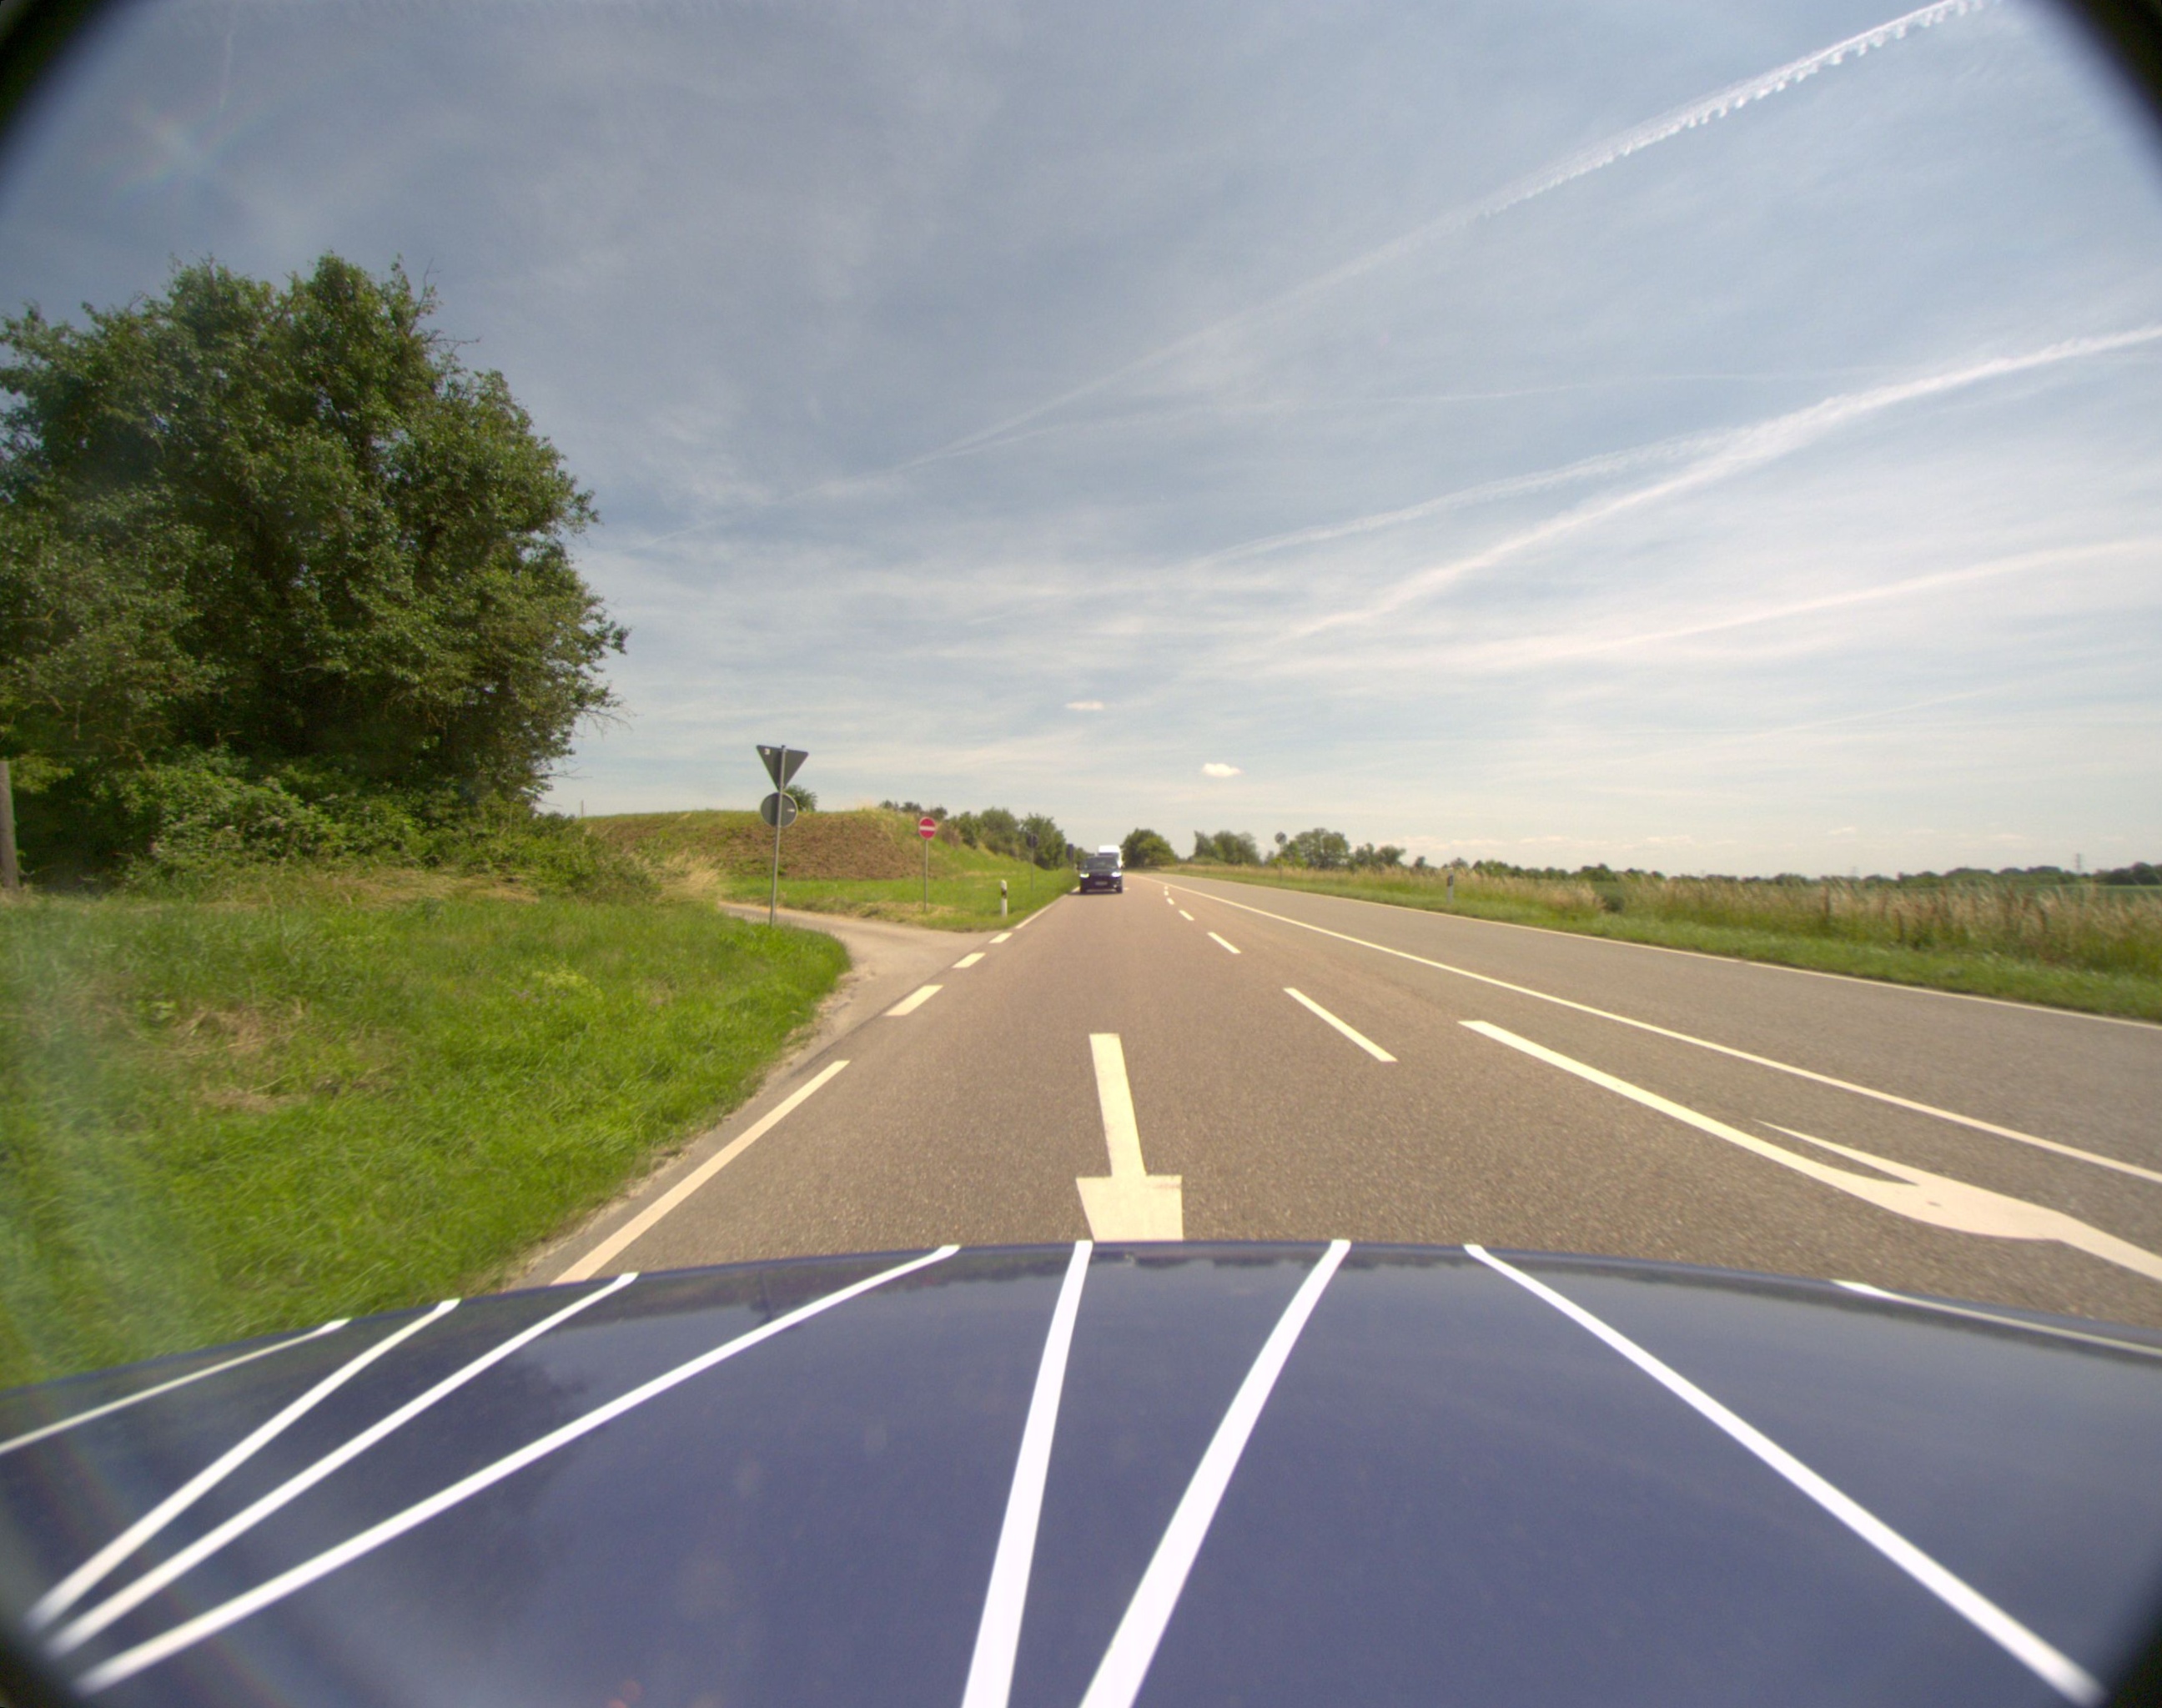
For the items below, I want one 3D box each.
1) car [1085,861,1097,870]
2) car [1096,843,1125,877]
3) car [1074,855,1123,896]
[{"bbox_3d":[1.942,2.221,147.543,2.039,1.641,4.742,0,1,-2],"label":"car"},{"bbox_3d":[2.354,0.486,61.574,2.226,2.617,5.753,1,0,1],"label":"car"},{"bbox_3d":[0.845,0.925,34.835,2.039,1.691,5.514,-2,0,2],"label":"car"}]
